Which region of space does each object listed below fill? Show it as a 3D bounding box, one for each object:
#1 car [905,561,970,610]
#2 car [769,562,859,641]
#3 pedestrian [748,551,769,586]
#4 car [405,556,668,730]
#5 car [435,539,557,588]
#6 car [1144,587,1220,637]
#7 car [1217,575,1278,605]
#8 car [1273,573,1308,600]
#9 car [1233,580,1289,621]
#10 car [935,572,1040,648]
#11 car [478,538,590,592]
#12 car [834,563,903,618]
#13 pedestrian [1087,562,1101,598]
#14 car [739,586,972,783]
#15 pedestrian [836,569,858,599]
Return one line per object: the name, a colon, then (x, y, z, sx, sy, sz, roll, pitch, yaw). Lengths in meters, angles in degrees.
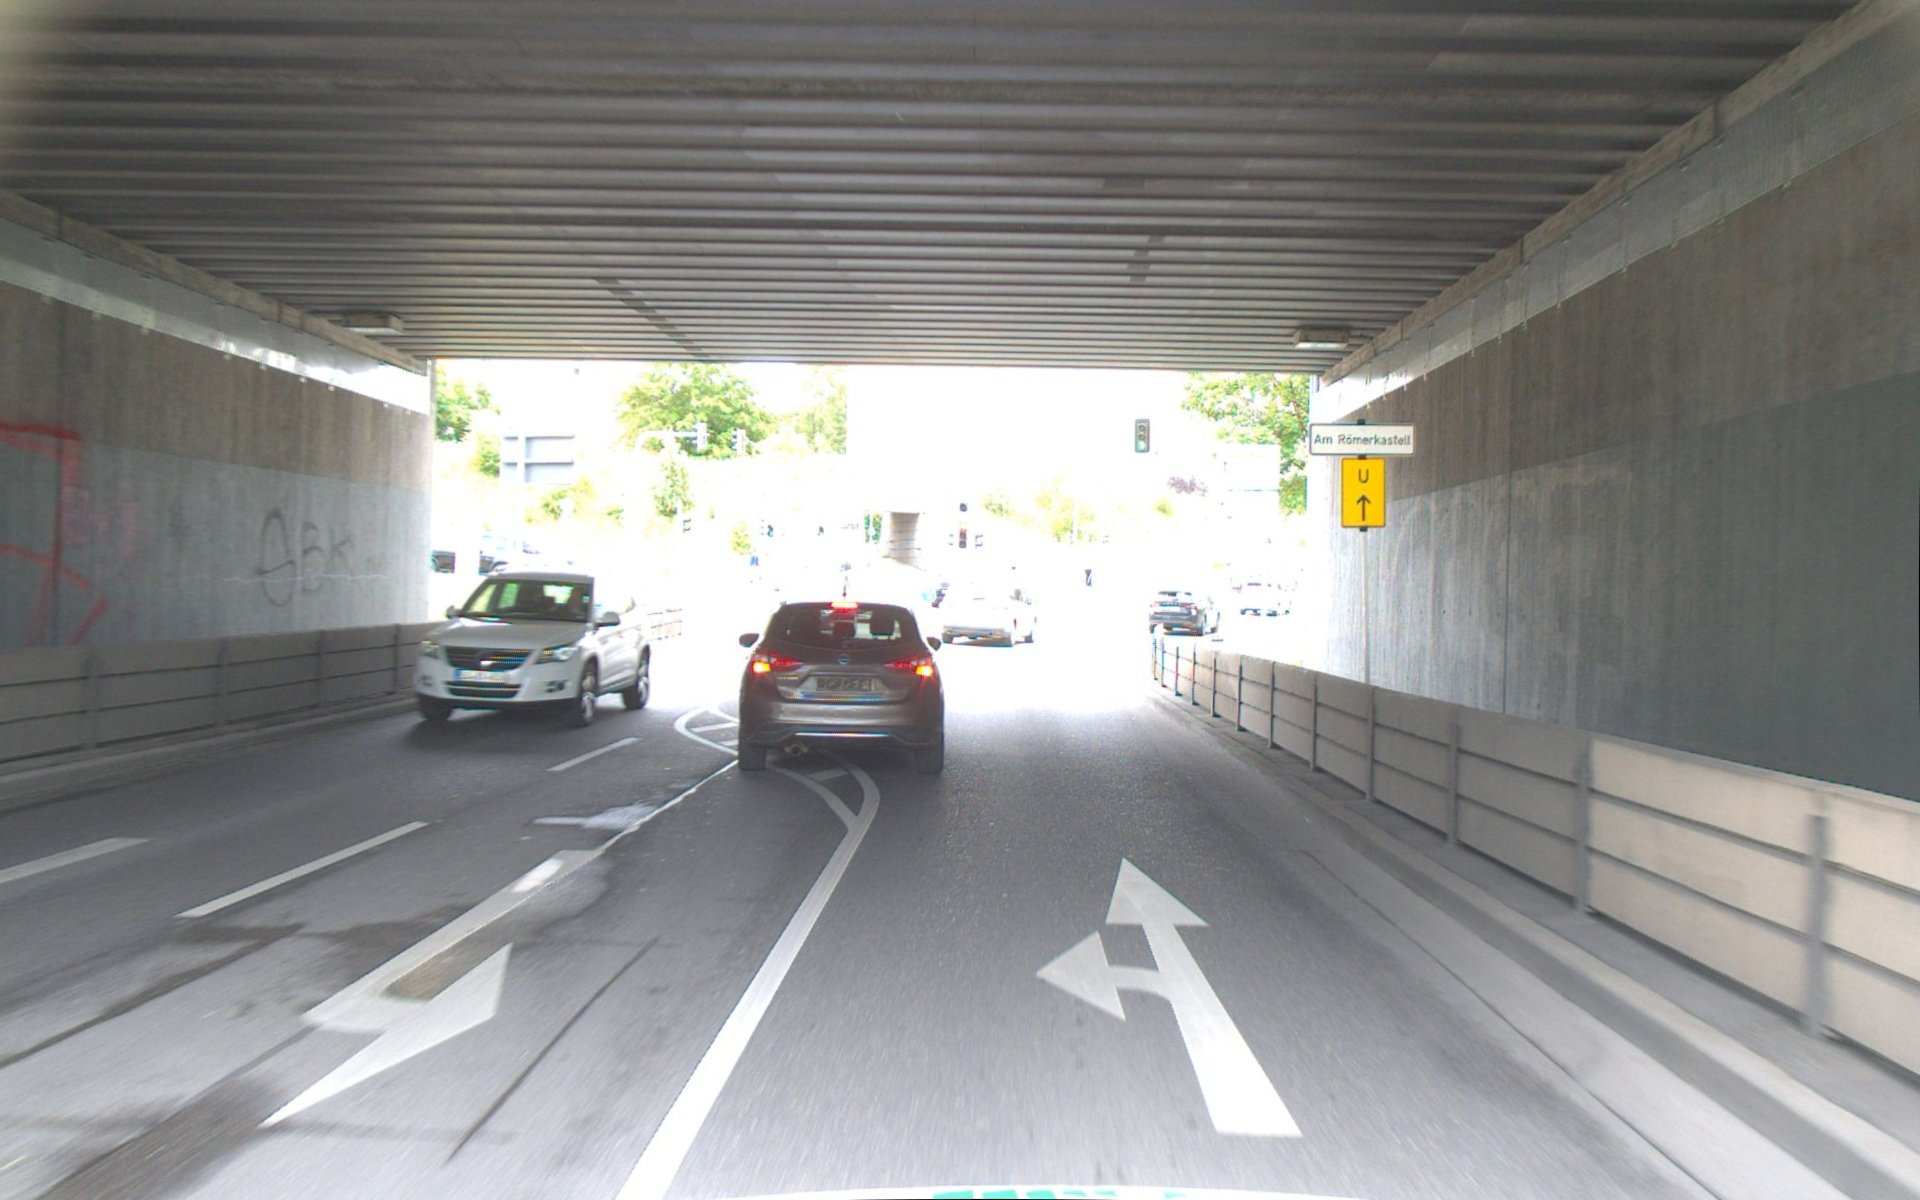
car: (-0.803, -0.556, 62.700, 1.951, 1.727, 4.171, 2, 1, 6)
car: (-3.574, -0.001, 41.085, 1.652, 1.737, 3.792, 3, 2, 3)
pedestrian: (-9.716, -1.508, 79.656, 0.934, 1.641, 0.698, 2, 1, -8)
car: (-4.630, 0.430, 18.706, 1.746, 1.689, 4.109, 2, 0, 2)
car: (-17.326, -1.368, 61.872, 3.903, 1.623, 1.873, 3, 1, 6)
car: (7.091, 0.353, 52.583, 1.859, 1.492, 4.003, 2, 1, 15)
car: (16.024, -0.560, 92.111, 1.810, 1.479, 3.987, 6, 4, 34)
car: (19.526, -0.784, 97.687, 1.139, 1.389, 2.499, 6, 1, 31)
car: (12.649, 0.007, 69.362, 1.951, 1.646, 4.003, 2, 1, 15)
car: (0.746, 0.227, 41.539, 1.791, 1.735, 3.872, 3, 1, 13)
car: (-16.900, -1.391, 65.756, 3.906, 1.981, 2.000, 2, 1, -1)
car: (-2.862, -0.306, 52.505, 1.726, 1.619, 4.002, 2, 1, 3)
pedestrian: (7.134, -1.097, 88.370, 0.592, 1.895, 0.596, 2, 1, -4)
car: (-1.050, 0.664, 15.174, 1.809, 1.519, 3.994, 2, 0, -7)
pedestrian: (-5.109, -0.730, 74.734, 0.893, 1.245, 0.728, 5, 1, -7)
